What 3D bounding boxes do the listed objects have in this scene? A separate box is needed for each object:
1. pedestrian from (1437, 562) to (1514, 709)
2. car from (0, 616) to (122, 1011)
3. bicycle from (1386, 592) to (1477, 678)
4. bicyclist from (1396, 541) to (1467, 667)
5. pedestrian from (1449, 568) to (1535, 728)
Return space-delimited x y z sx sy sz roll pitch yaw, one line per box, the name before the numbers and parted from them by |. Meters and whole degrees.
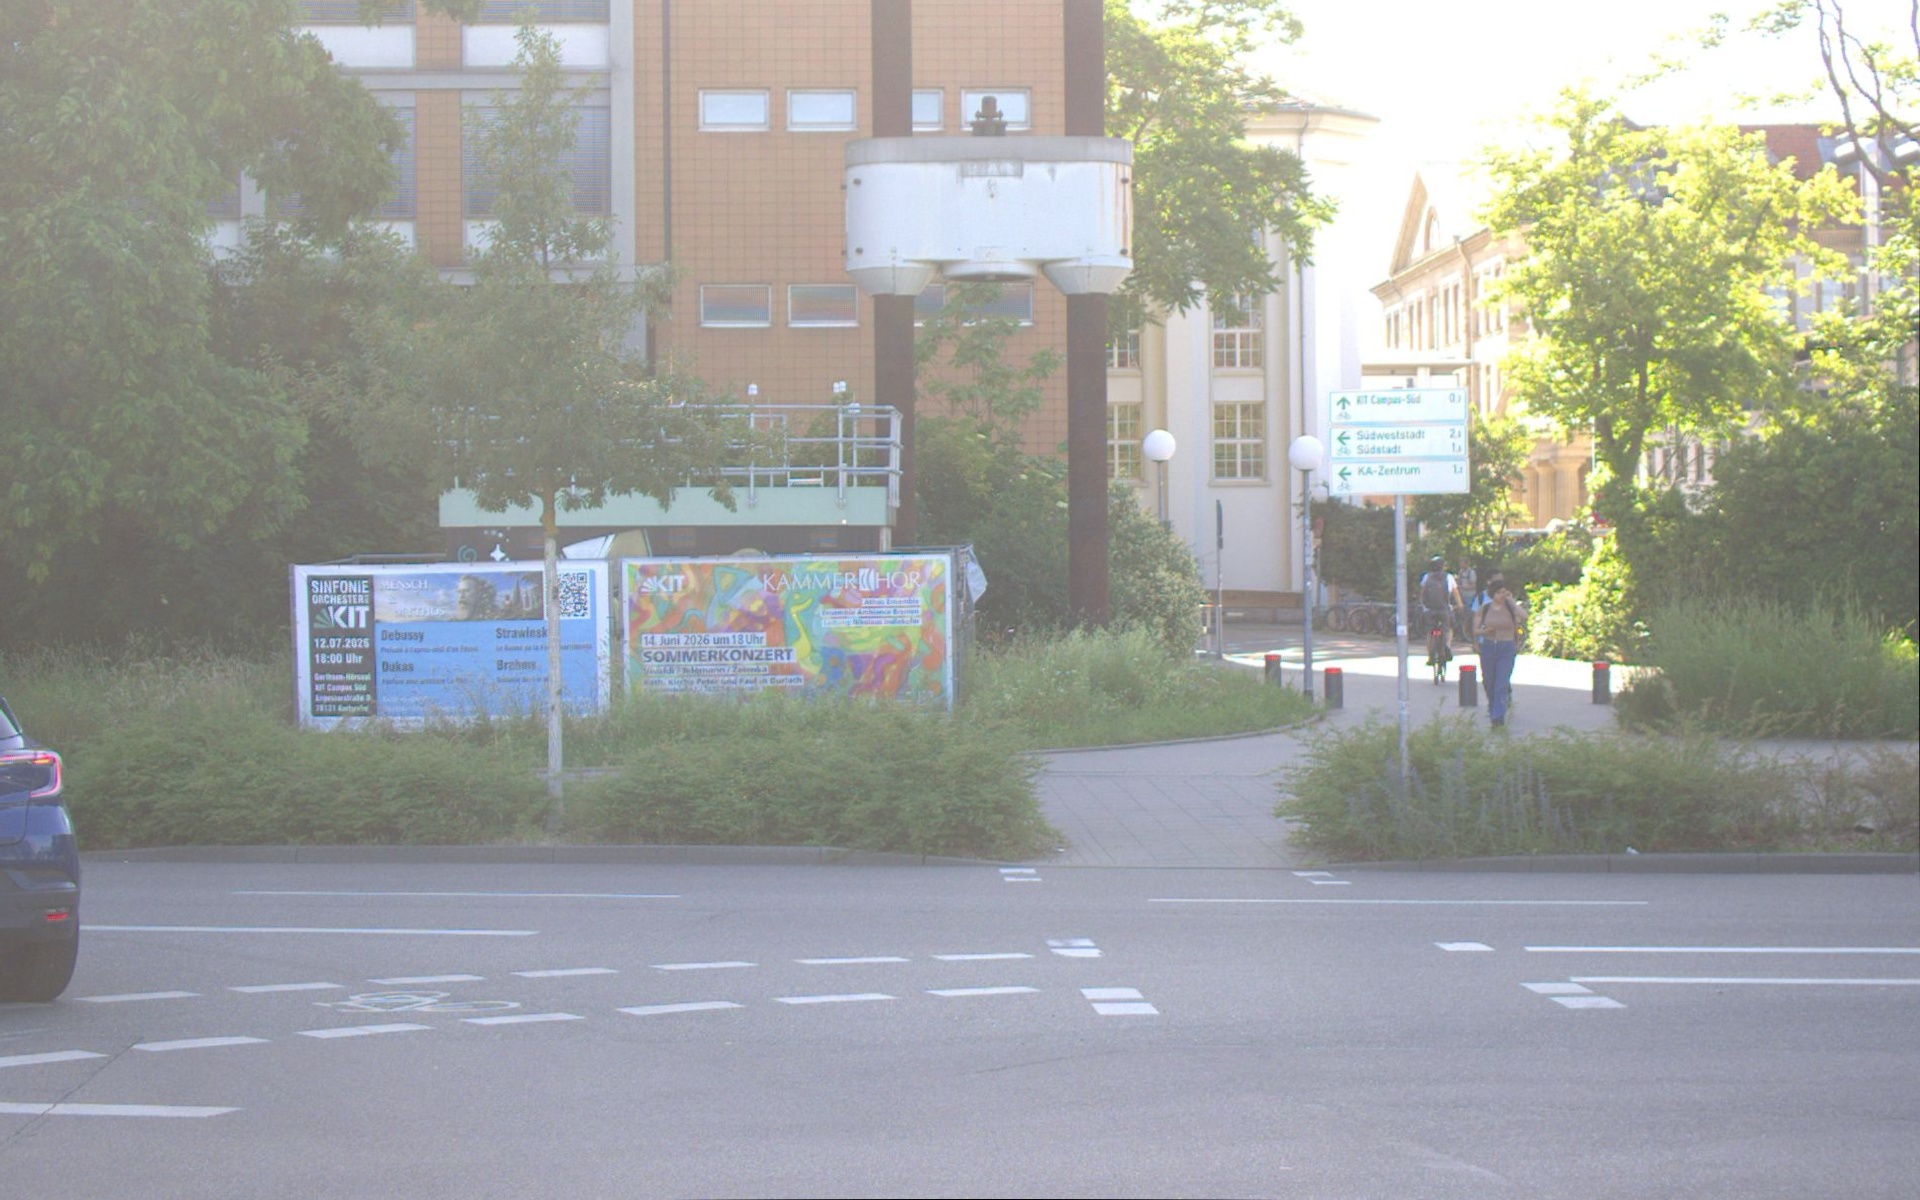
pedestrian | 5.862 0.397 39.091 0.676 1.637 0.735 2 0 21
car | -5.386 0.929 15.379 1.877 1.612 3.796 0 -1 -36
bicycle | 6.554 0.472 47.755 0.747 1.161 1.868 0 1 24
bicyclist | 6.547 0.049 47.745 0.720 1.729 0.976 0 0 24
pedestrian | 5.598 0.499 36.136 0.676 1.637 0.735 2 0 24
